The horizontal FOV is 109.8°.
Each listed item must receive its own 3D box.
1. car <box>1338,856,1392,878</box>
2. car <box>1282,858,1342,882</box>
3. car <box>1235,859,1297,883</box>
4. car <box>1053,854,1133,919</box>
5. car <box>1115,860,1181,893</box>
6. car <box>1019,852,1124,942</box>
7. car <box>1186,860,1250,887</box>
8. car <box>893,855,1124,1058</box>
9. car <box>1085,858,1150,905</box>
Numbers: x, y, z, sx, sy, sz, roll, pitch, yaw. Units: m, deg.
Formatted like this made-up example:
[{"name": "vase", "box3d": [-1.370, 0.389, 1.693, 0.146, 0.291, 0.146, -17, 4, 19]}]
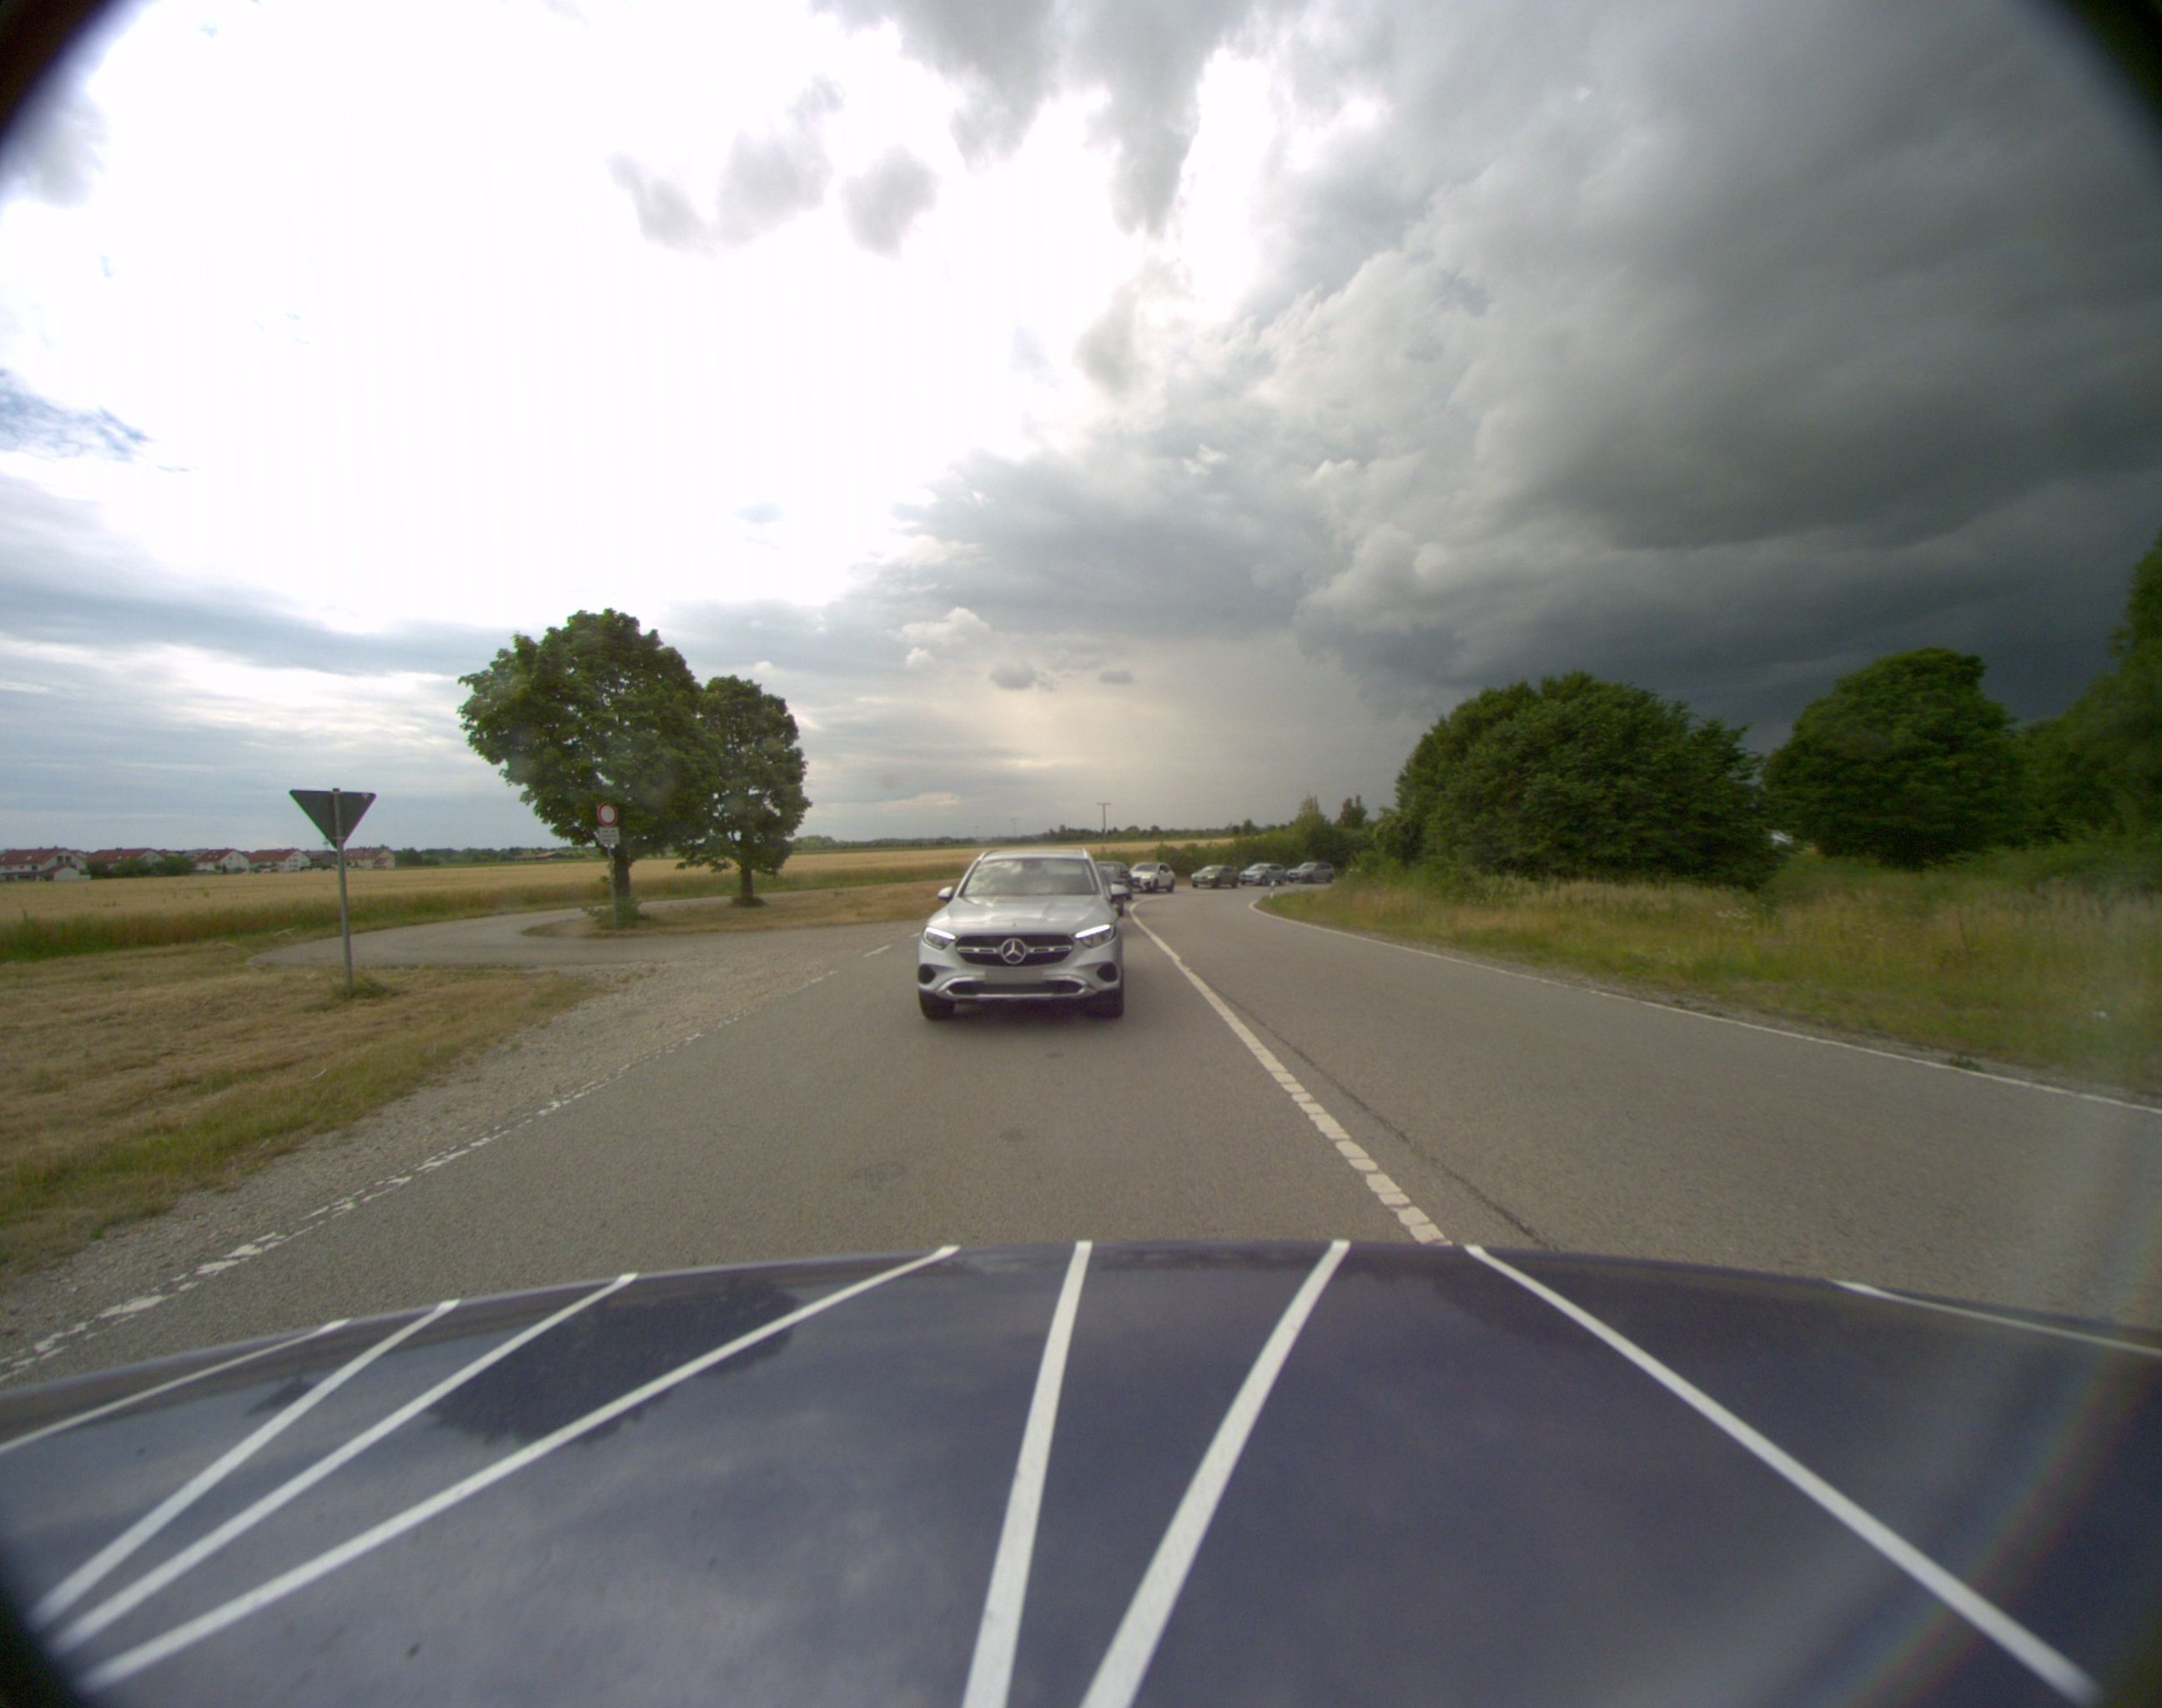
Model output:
[{"name": "car", "box3d": [25.292, 1.144, 67.535, 5.218, 1.710, 1.994, -2, 3, -37]}, {"name": "car", "box3d": [18.976, 1.251, 62.370, 5.218, 1.710, 1.994, -2, 3, -36]}, {"name": "car", "box3d": [14.015, 1.290, 57.385, 5.220, 1.709, 1.994, 1, 1, -43]}, {"name": "car", "box3d": [0.499, 0.951, 23.484, 1.997, 1.709, 5.212, 2, -1, 6]}, {"name": "car", "box3d": [3.848, 1.203, 42.692, 1.995, 1.709, 5.218, 2, 1, 25]}, {"name": "car", "box3d": [-0.043, 0.874, 17.209, 1.998, 1.709, 5.211, -1, -1, 3]}, {"name": "car", "box3d": [9.383, 1.274, 51.716, 1.994, 1.709, 5.220, 2, 1, 38]}, {"name": "car", "box3d": [-0.567, 0.837, 8.403, 1.836, 1.577, 4.449, -2, 0, 1]}, {"name": "car", "box3d": [1.656, 1.087, 32.155, 1.997, 1.709, 5.213, 2, 0, 11]}]
